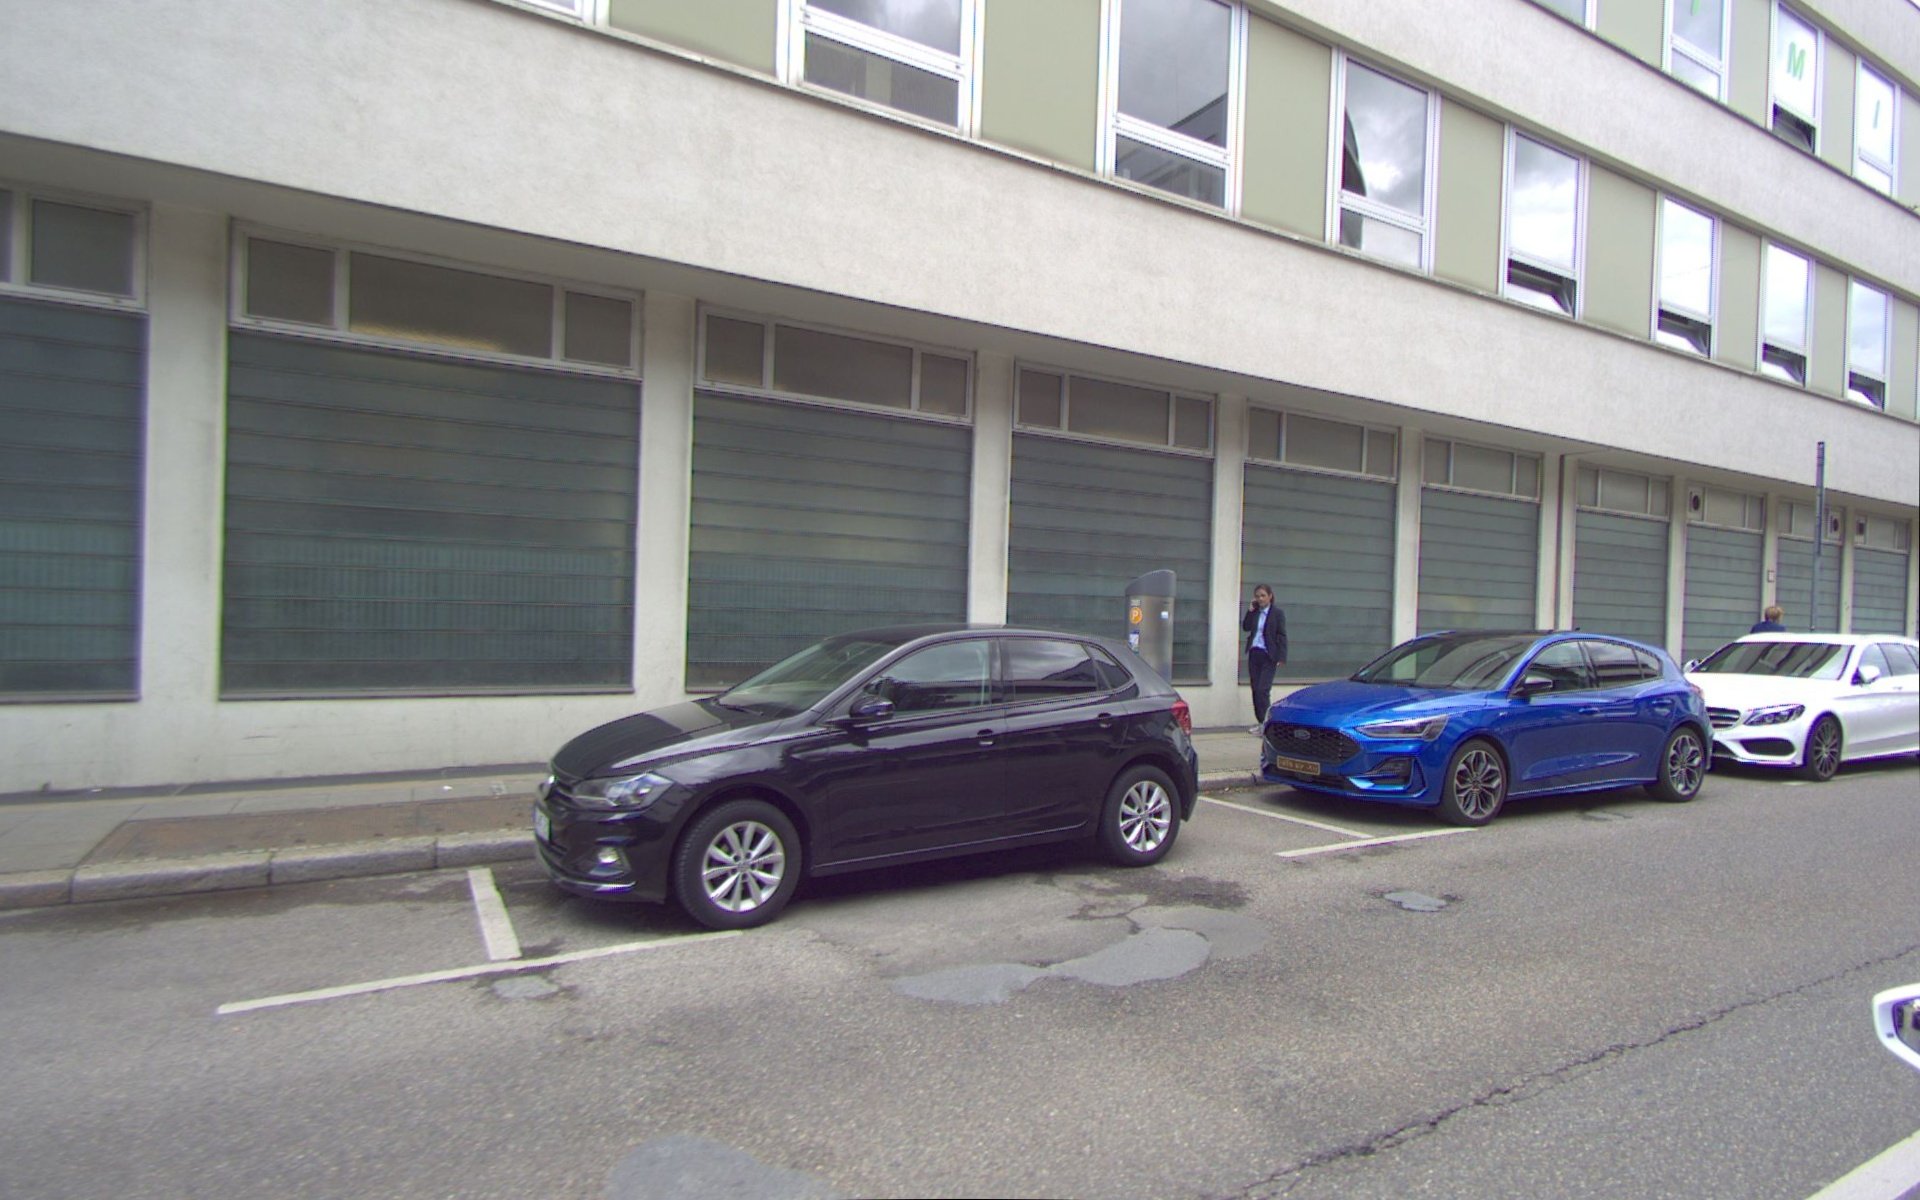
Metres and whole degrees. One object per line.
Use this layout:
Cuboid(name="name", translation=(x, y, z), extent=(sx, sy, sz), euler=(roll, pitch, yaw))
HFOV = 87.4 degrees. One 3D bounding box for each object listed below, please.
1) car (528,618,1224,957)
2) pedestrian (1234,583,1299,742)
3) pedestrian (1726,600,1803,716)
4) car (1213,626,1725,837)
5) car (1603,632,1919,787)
Cuboid(name="car", translation=(-0.408, 0.860, 6.037), extent=(3.826, 1.444, 1.708), euler=(2, -2, -31))
Cuboid(name="pedestrian", translation=(3.488, 0.685, 11.418), extent=(0.580, 1.741, 0.649), euler=(1, 0, 27))
Cuboid(name="pedestrian", translation=(12.467, 0.879, 15.564), extent=(1.043, 1.741, 0.586), euler=(1, 0, -31))
Cuboid(name="car", translation=(4.428, 0.967, 8.676), extent=(4.208, 1.444, 1.809), euler=(1, -2, -26))
Cuboid(name="car", translation=(9.396, 1.103, 11.287), extent=(4.494, 1.453, 1.664), euler=(1, -2, -27))
